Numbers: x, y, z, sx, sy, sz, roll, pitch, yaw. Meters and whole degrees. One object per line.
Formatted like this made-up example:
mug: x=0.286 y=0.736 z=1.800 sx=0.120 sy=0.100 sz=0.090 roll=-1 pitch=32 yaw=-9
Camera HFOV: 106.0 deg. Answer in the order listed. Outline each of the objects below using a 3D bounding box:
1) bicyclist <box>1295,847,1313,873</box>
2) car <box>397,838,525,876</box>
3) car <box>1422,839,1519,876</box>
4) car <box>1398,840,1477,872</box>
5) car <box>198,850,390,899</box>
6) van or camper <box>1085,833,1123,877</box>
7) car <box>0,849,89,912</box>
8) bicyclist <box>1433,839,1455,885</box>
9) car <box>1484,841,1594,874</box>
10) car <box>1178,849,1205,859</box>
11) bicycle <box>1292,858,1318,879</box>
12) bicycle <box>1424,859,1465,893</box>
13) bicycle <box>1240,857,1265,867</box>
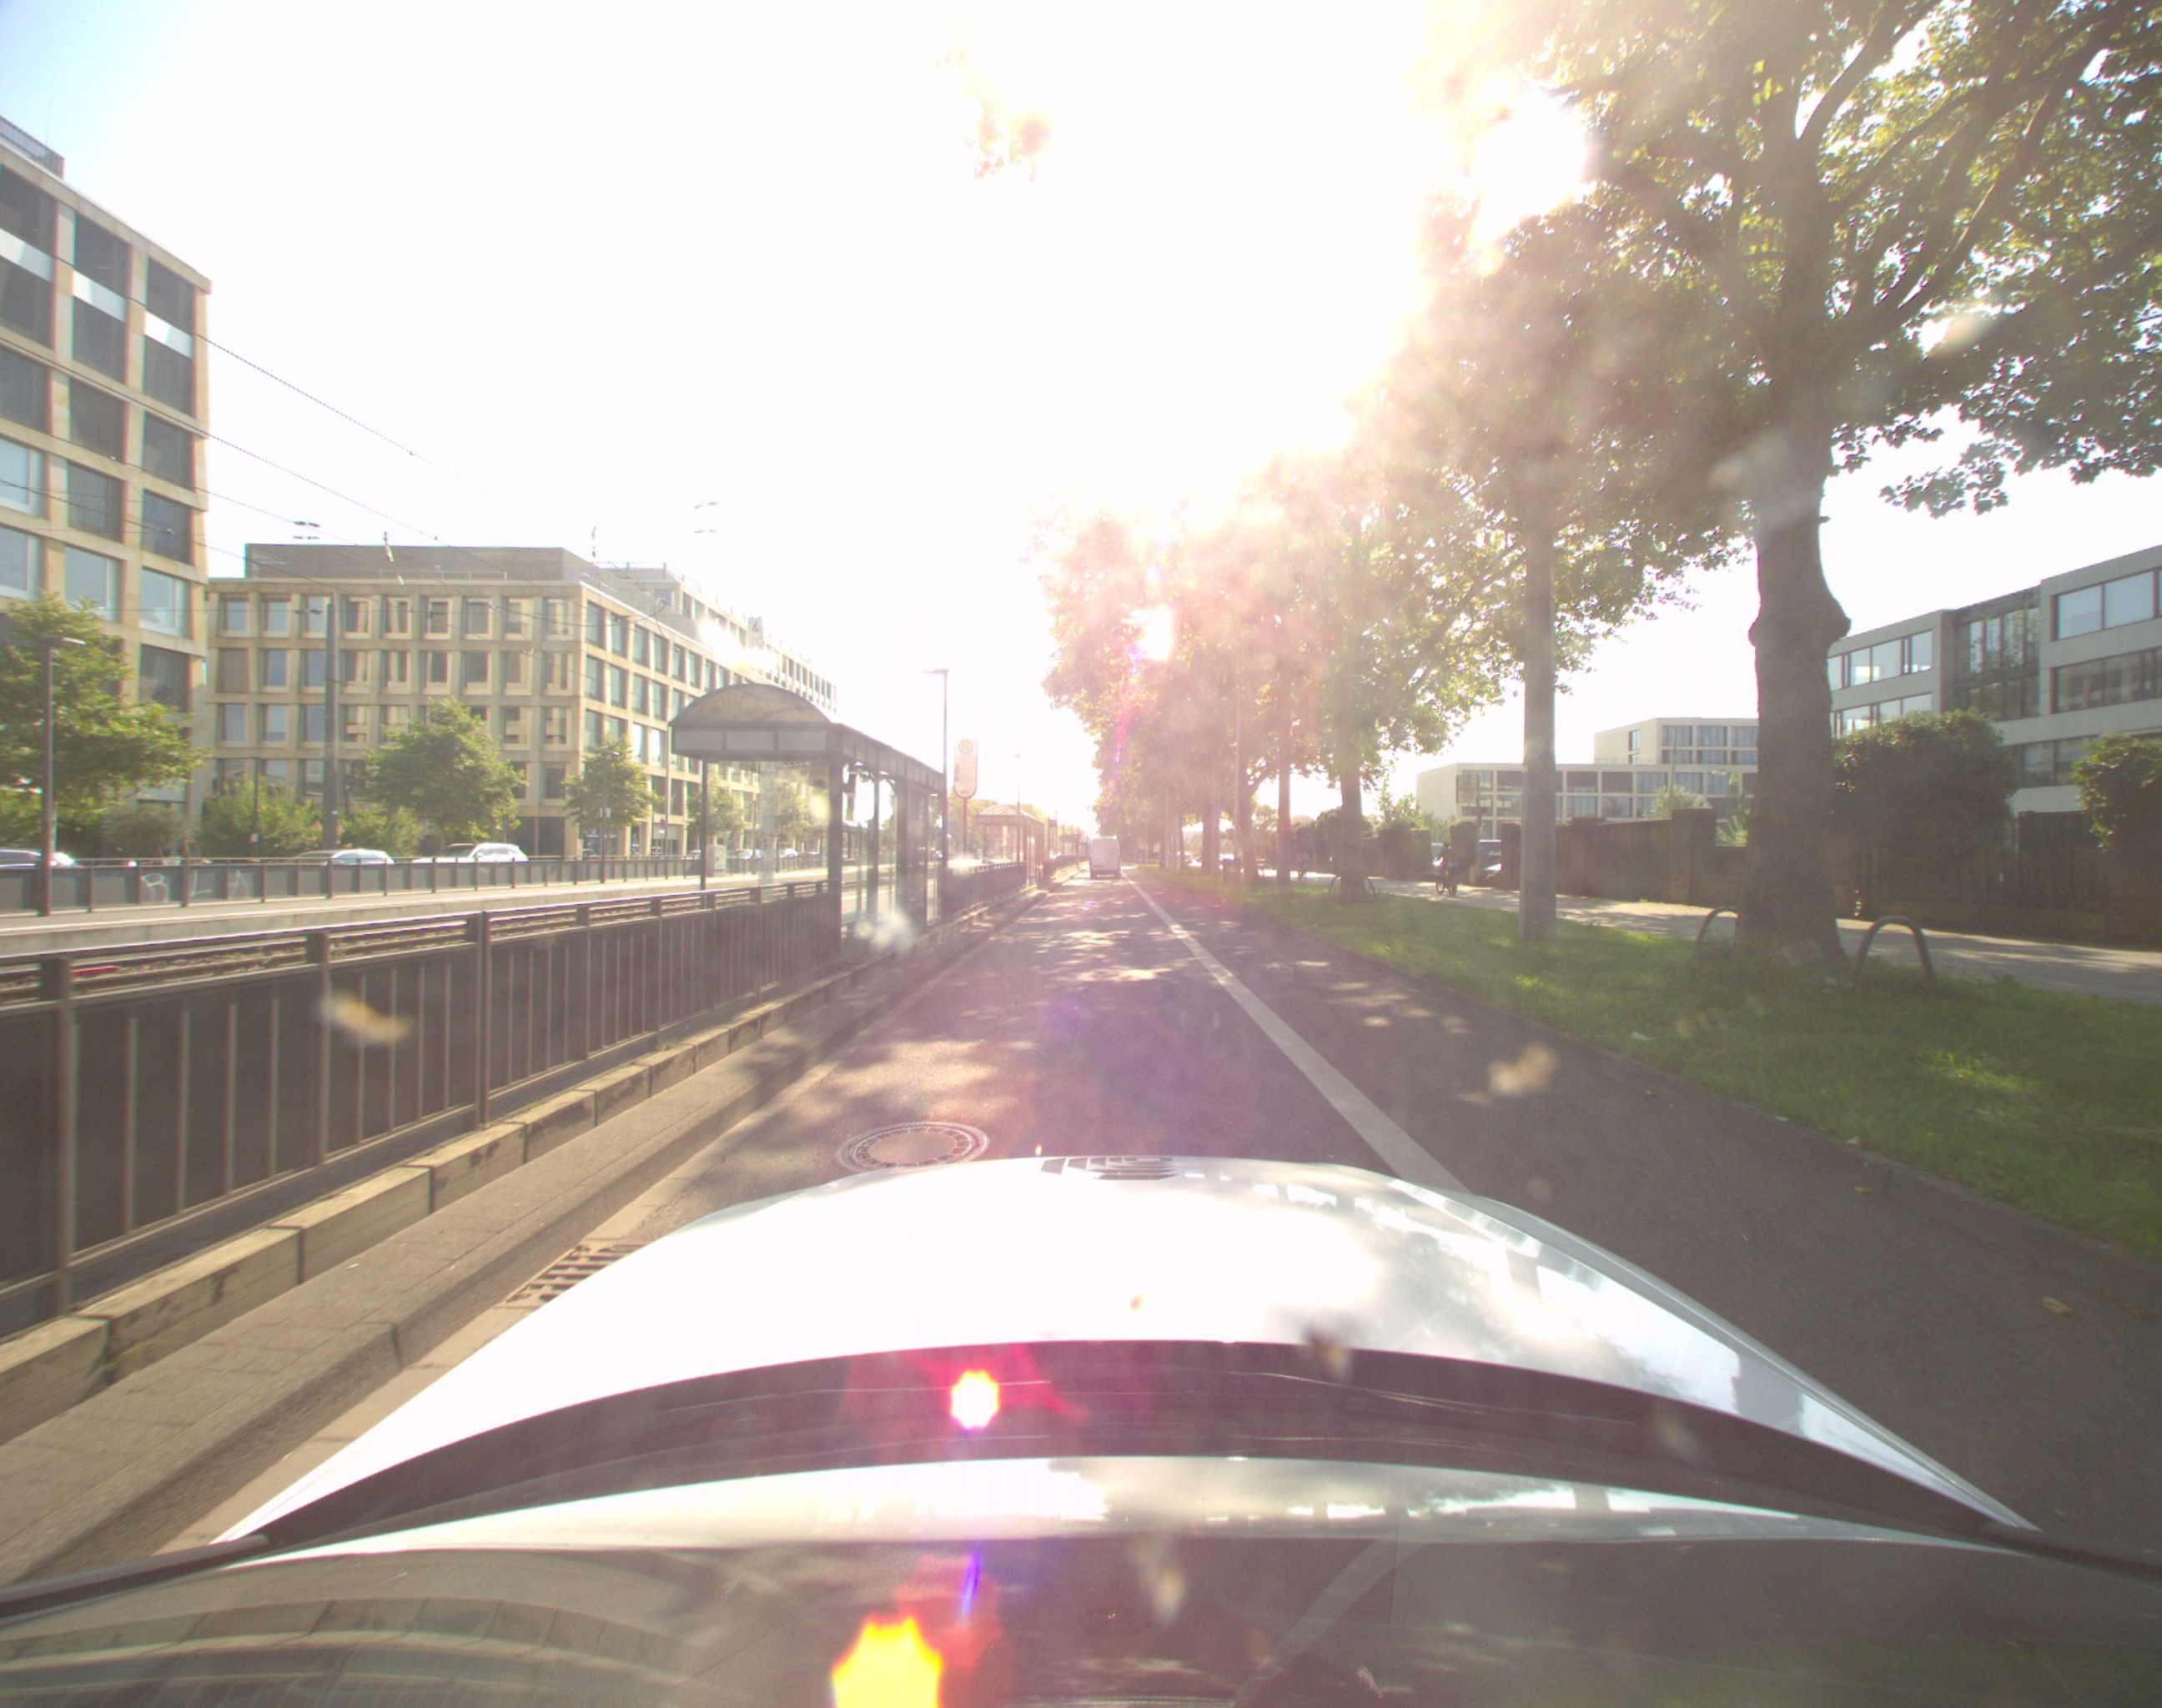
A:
bicyclist: x=11.070 y=0.305 z=40.410 sx=0.667 sy=1.276 sz=0.728 roll=0 pitch=0 yaw=0
car: x=-24.366 y=0.115 z=32.238 sx=1.678 sy=1.407 sz=4.371 roll=0 pitch=0 yaw=1
car: x=19.932 y=0.178 z=41.767 sx=4.260 sy=1.892 sz=1.561 roll=0 pitch=0 yaw=-1
car: x=20.972 y=0.108 z=48.001 sx=3.990 sy=1.843 sz=1.561 roll=0 pitch=0 yaw=-1
car: x=-24.304 y=0.576 z=25.416 sx=1.678 sy=1.407 sz=4.373 roll=0 pitch=0 yaw=1
van or camper: x=1.433 y=0.058 z=53.279 sx=2.110 sy=2.682 sz=5.246 roll=1 pitch=0 yaw=-2
car: x=-24.783 y=0.587 z=17.434 sx=1.678 sy=1.407 sz=4.373 roll=0 pitch=0 yaw=1
bicyclist: x=12.202 y=0.255 z=27.389 sx=0.468 sy=1.539 sz=0.596 roll=0 pitch=0 yaw=-2
car: x=19.849 y=0.149 z=35.385 sx=3.975 sy=1.403 sz=1.503 roll=0 pitch=0 yaw=-1
car: x=17.070 y=0.013 z=126.026 sx=3.973 sy=1.376 sz=2.000 roll=2 pitch=-1 yaw=1
bicycle: x=11.068 y=0.709 z=40.300 sx=0.679 sy=1.005 sz=2.218 roll=0 pitch=0 yaw=1
bicycle: x=12.204 y=0.717 z=27.386 sx=0.490 sy=1.089 sz=1.856 roll=0 pitch=0 yaw=-1
bicycle: x=15.334 y=0.723 z=72.933 sx=2.172 sy=0.847 sz=0.503 roll=0 pitch=0 yaw=1
